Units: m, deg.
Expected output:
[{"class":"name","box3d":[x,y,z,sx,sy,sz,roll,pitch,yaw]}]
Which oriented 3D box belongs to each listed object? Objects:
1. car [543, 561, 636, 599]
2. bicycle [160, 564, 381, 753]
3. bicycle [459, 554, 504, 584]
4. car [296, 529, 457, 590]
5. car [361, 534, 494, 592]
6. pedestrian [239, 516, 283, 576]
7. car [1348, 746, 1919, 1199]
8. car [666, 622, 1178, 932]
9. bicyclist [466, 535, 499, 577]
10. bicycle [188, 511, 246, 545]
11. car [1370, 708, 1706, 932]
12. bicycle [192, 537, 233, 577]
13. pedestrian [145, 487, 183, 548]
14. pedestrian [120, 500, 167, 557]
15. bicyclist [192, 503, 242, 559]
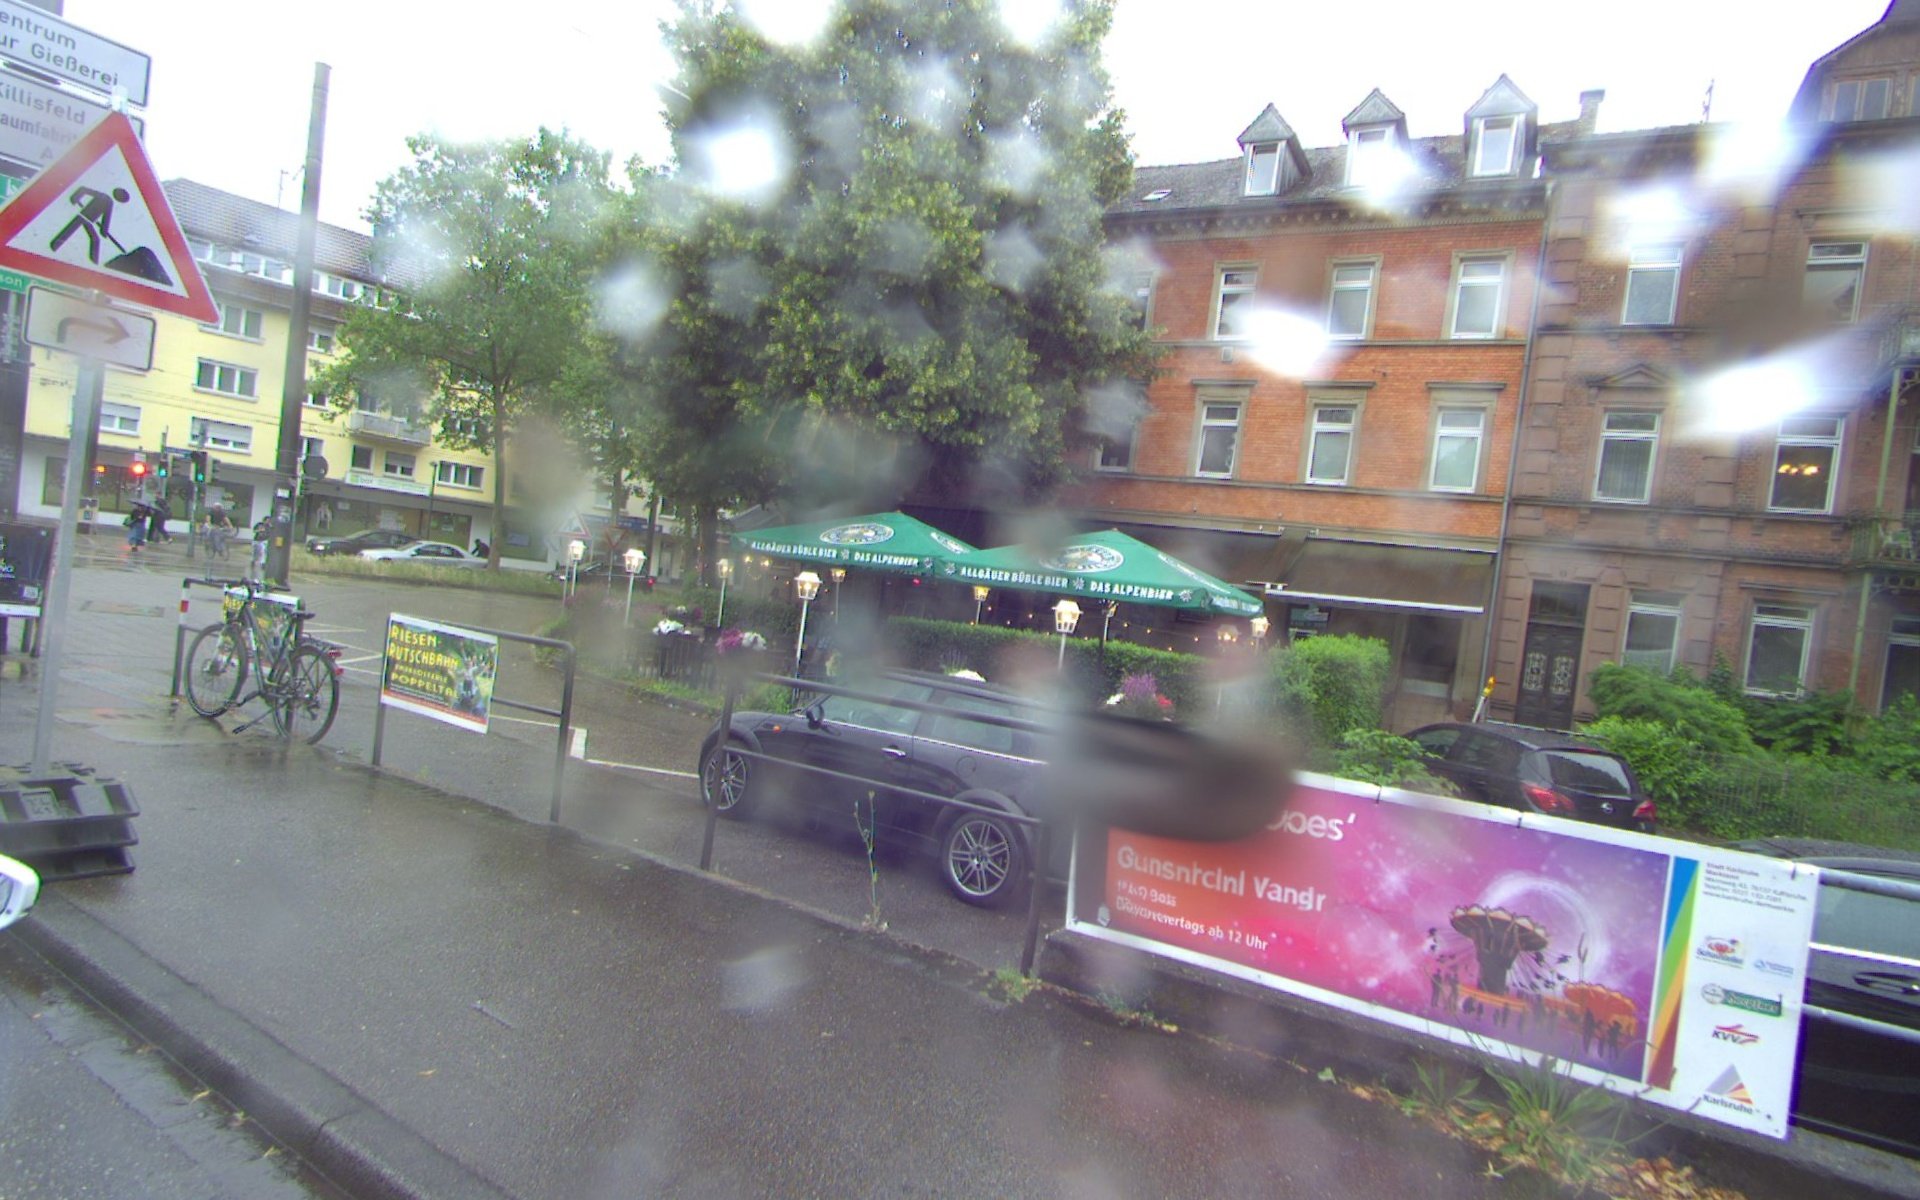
[{"class":"car","box3d":[-15.520,-0.822,42.281,1.227,1.095,3.531,7,-2,34]},{"class":"bicycle","box3d":[-5.177,0.404,7.504,1.984,1.119,0.515,7,-3,34]},{"class":"bicycle","box3d":[-19.918,-1.296,41.935,0.415,1.013,1.640,7,-1,32]},{"class":"car","box3d":[-22.443,-1.521,38.830,1.975,1.661,4.928,3,-4,43]},{"class":"car","box3d":[-19.702,-1.358,37.321,3.926,1.508,1.784,8,0,-43]},{"class":"pedestrian","box3d":[-21.376,-1.632,30.782,0.898,1.689,1.011,7,-1,-32]},{"class":"car","box3d":[4.200,1.792,4.965,3.907,1.416,1.706,7,-1,32]},{"class":"car","box3d":[-0.352,1.216,7.807,3.468,1.457,1.710,8,-3,34]},{"class":"bicyclist","box3d":[-19.884,-1.825,41.891,0.699,1.634,0.815,7,0,33]},{"class":"bicycle","box3d":[-35.600,-3.437,48.204,2.096,1.277,0.525,8,0,-44]},{"class":"car","box3d":[6.653,2.429,12.187,1.962,1.733,4.004,7,-1,7]},{"class":"bicycle","box3d":[-23.493,-1.362,31.605,1.873,1.040,0.458,8,1,38]},{"class":"pedestrian","box3d":[-28.391,-2.925,35.896,0.790,2.038,0.853,7,0,-33]},{"class":"pedestrian","box3d":[-24.351,-2.124,30.011,0.612,1.552,0.816,7,0,-6]},{"class":"bicyclist","box3d":[-23.277,-2.154,31.520,0.847,1.602,0.879,7,-1,36]}]
